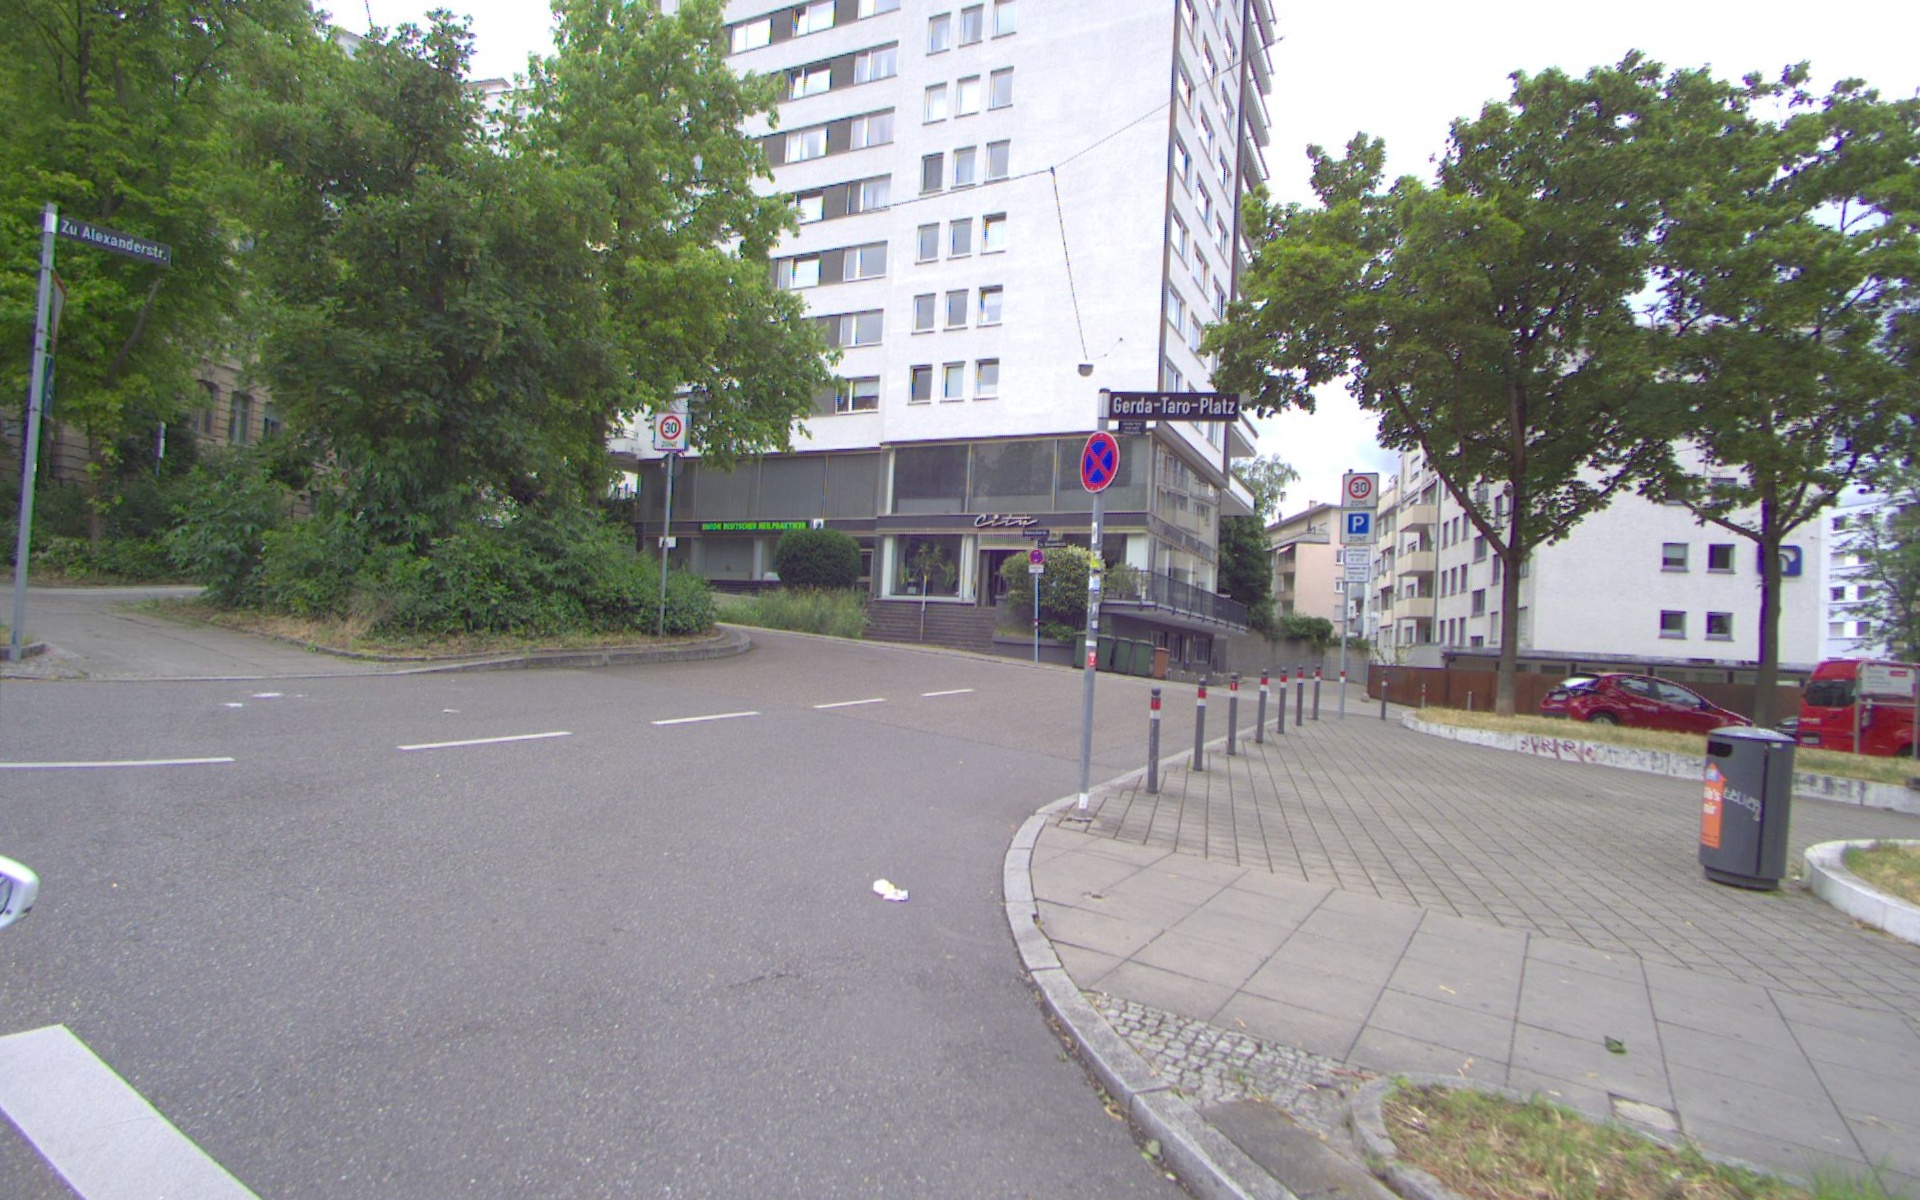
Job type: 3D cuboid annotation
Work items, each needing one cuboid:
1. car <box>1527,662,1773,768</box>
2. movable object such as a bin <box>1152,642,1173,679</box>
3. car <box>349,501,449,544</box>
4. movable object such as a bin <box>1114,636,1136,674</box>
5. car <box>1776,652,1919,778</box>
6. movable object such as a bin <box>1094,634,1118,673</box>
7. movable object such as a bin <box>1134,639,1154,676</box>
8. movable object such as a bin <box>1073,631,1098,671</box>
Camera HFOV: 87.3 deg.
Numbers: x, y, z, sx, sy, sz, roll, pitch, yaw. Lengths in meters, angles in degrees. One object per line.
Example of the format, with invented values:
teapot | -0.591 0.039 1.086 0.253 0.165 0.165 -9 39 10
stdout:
car | 14.025 2.301 20.618 3.646 1.584 1.750 6 0 4
movable object such as a bin | 5.950 1.765 29.622 0.485 1.030 0.547 6 0 10
car | -31.075 -4.266 55.910 2.136 1.959 5.214 3 2 7
movable object such as a bin | 4.901 1.631 29.805 0.528 1.054 0.536 6 0 10
car | 19.869 2.467 20.287 4.801 2.240 2.128 6 0 3
movable object such as a bin | 4.260 1.551 29.279 0.565 1.083 0.554 6 0 10
movable object such as a bin | 5.438 1.701 29.715 0.485 1.037 0.547 6 0 10
movable object such as a bin | 3.662 1.480 29.379 0.599 1.092 0.554 6 0 10
